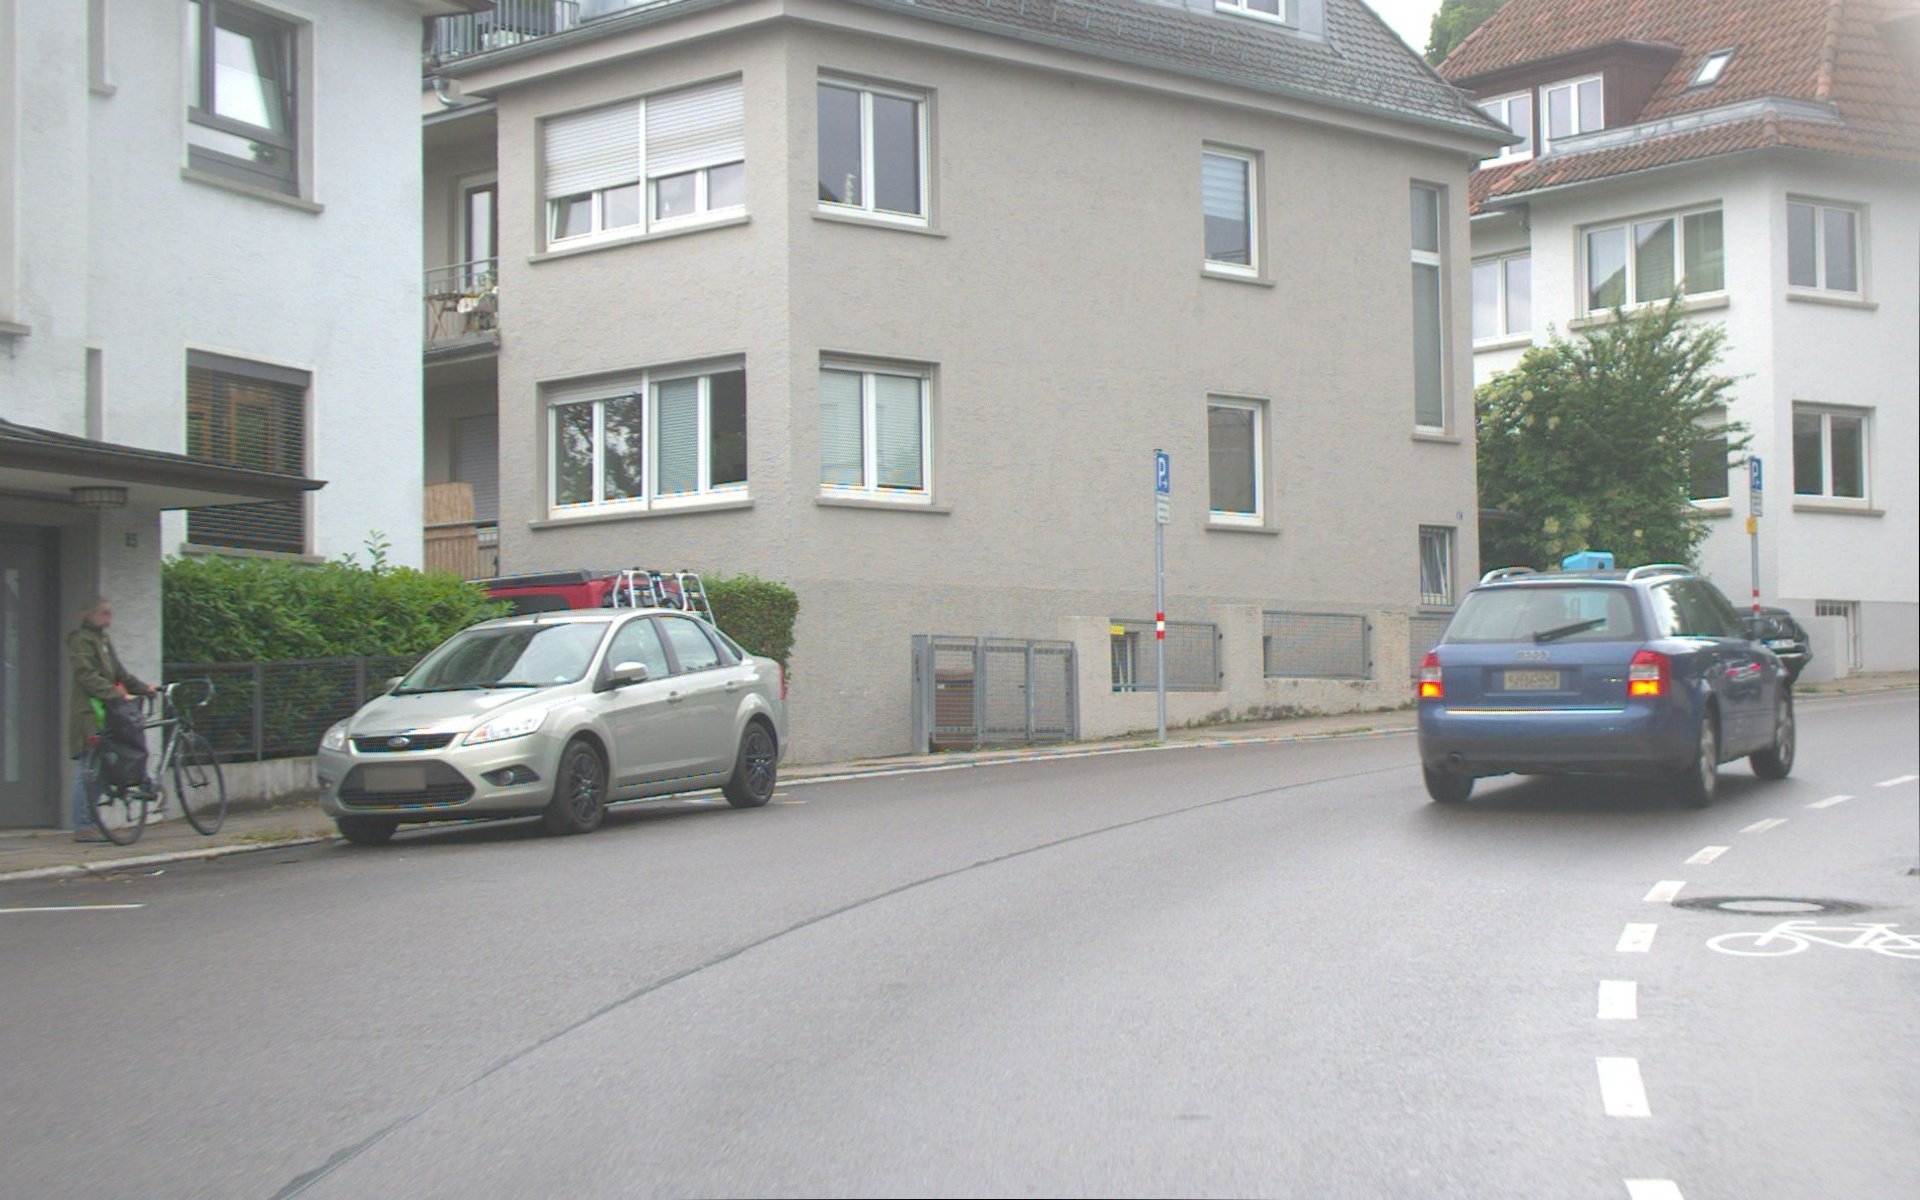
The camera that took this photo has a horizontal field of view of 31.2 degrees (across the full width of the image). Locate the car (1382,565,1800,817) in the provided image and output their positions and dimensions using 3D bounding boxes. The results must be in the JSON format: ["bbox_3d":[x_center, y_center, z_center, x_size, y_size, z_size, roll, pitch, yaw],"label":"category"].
[{"bbox_3d":[4.110,0.505,21.875,1.813,1.434,4.077,0,1,22],"label":"car"}]

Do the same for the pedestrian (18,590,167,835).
[{"bbox_3d":[-5.736,0.732,22.765,0.493,1.572,0.947,-1,0,18],"label":"pedestrian"}]

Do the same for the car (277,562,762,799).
[{"bbox_3d":[-4.166,0.761,32.485,3.992,1.817,1.997,-6,-2,28],"label":"car"}]

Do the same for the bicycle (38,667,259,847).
[{"bbox_3d":[-5.303,1.004,22.568,0.456,1.063,1.920,-1,1,18],"label":"bicycle"}]

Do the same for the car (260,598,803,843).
[{"bbox_3d":[-2.810,0.769,23.577,1.838,1.420,4.225,-3,0,22],"label":"car"}]

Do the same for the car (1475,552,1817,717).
[{"bbox_3d":[9.393,0.506,47.366,1.994,1.618,4.251,-2,-8,-36],"label":"car"}]
